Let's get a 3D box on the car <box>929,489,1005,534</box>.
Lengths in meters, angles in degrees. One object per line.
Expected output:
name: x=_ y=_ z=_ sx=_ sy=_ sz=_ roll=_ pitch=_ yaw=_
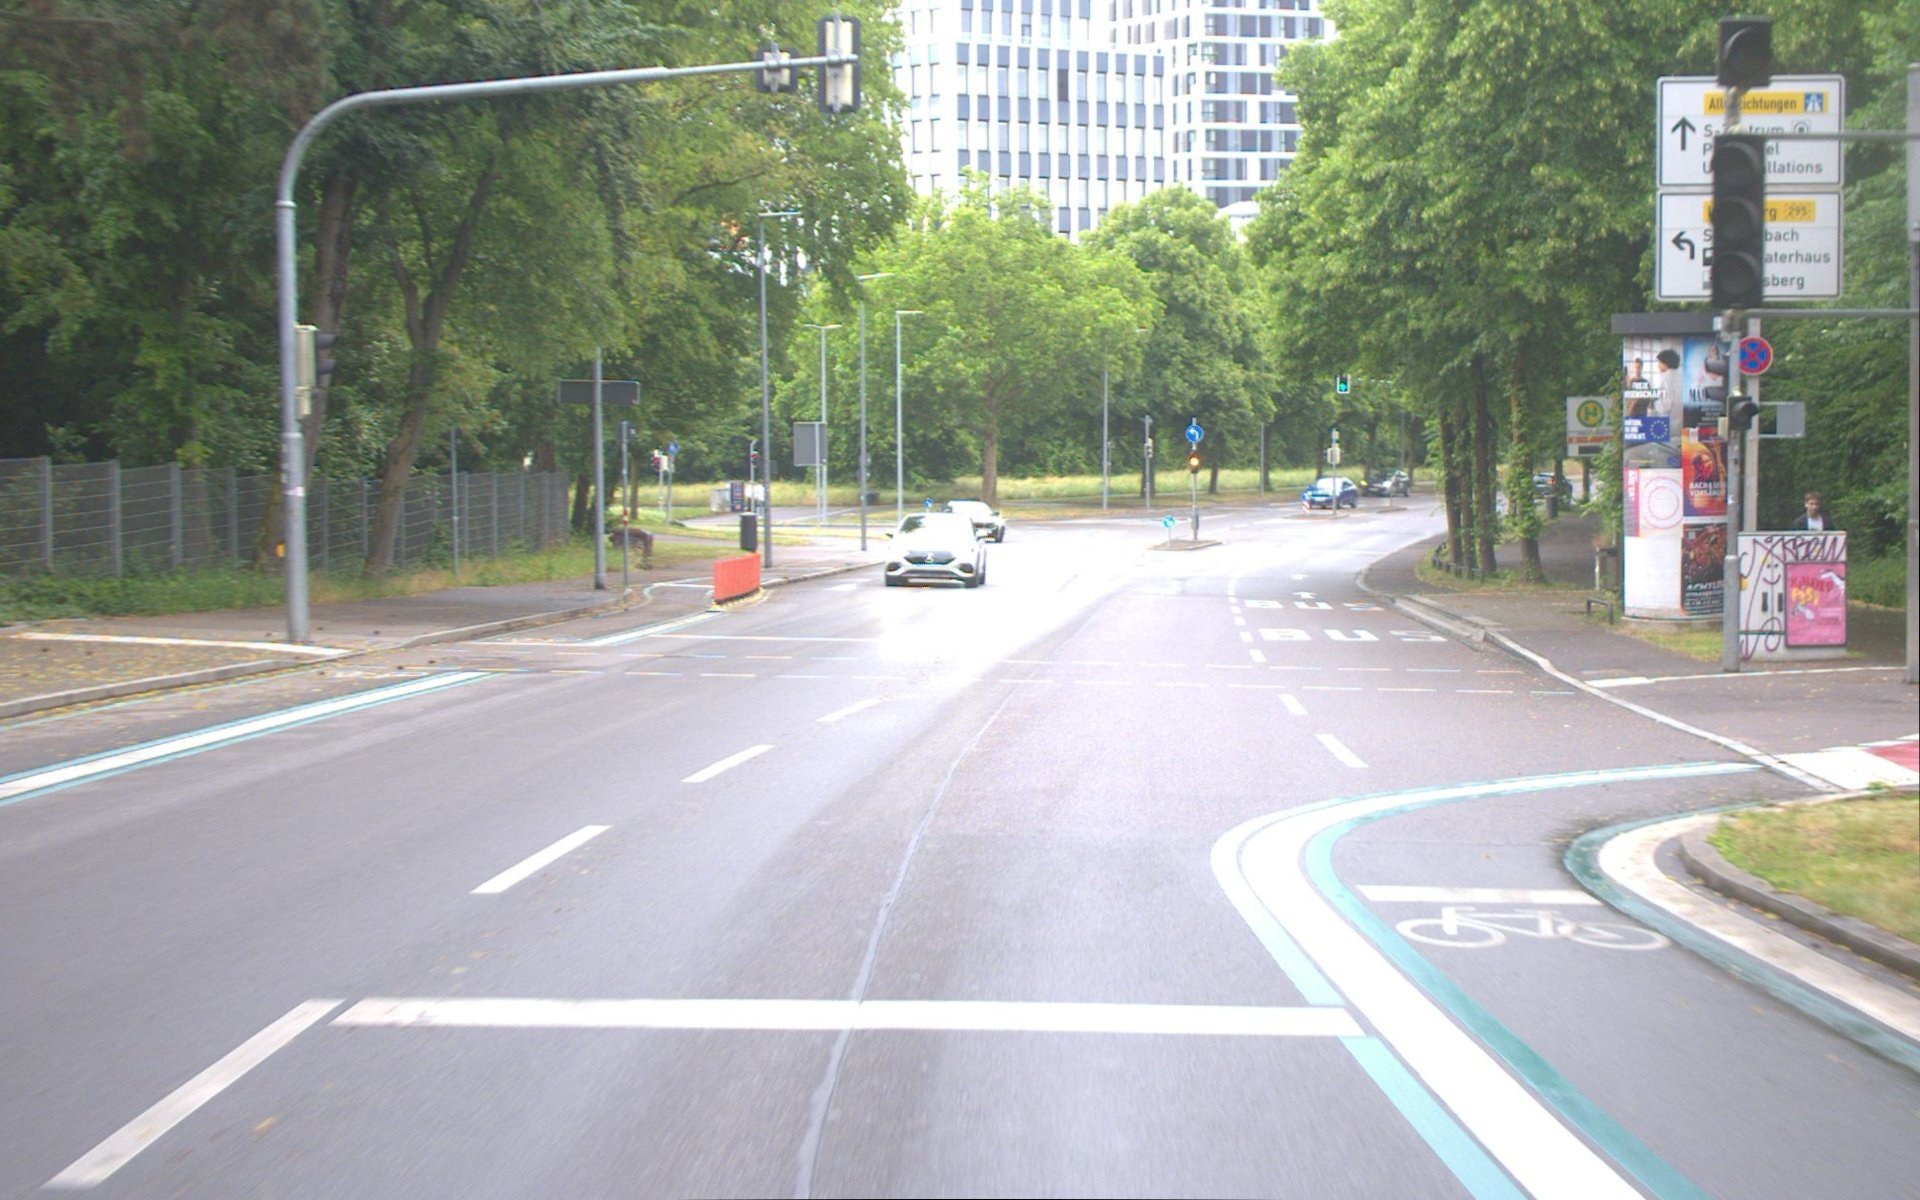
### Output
car: x=0.232 y=-3.179 z=122.512 sx=1.601 sy=1.437 sz=4.002 roll=1 pitch=3 yaw=-16

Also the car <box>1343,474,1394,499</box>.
car: x=22.118 y=-6.153 z=186.003 sx=1.811 sy=1.282 sz=3.736 roll=1 pitch=2 yaw=22

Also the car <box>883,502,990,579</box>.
car: x=-0.450 y=-1.259 z=70.977 sx=1.843 sy=1.452 sz=4.500 roll=1 pitch=2 yaw=4
